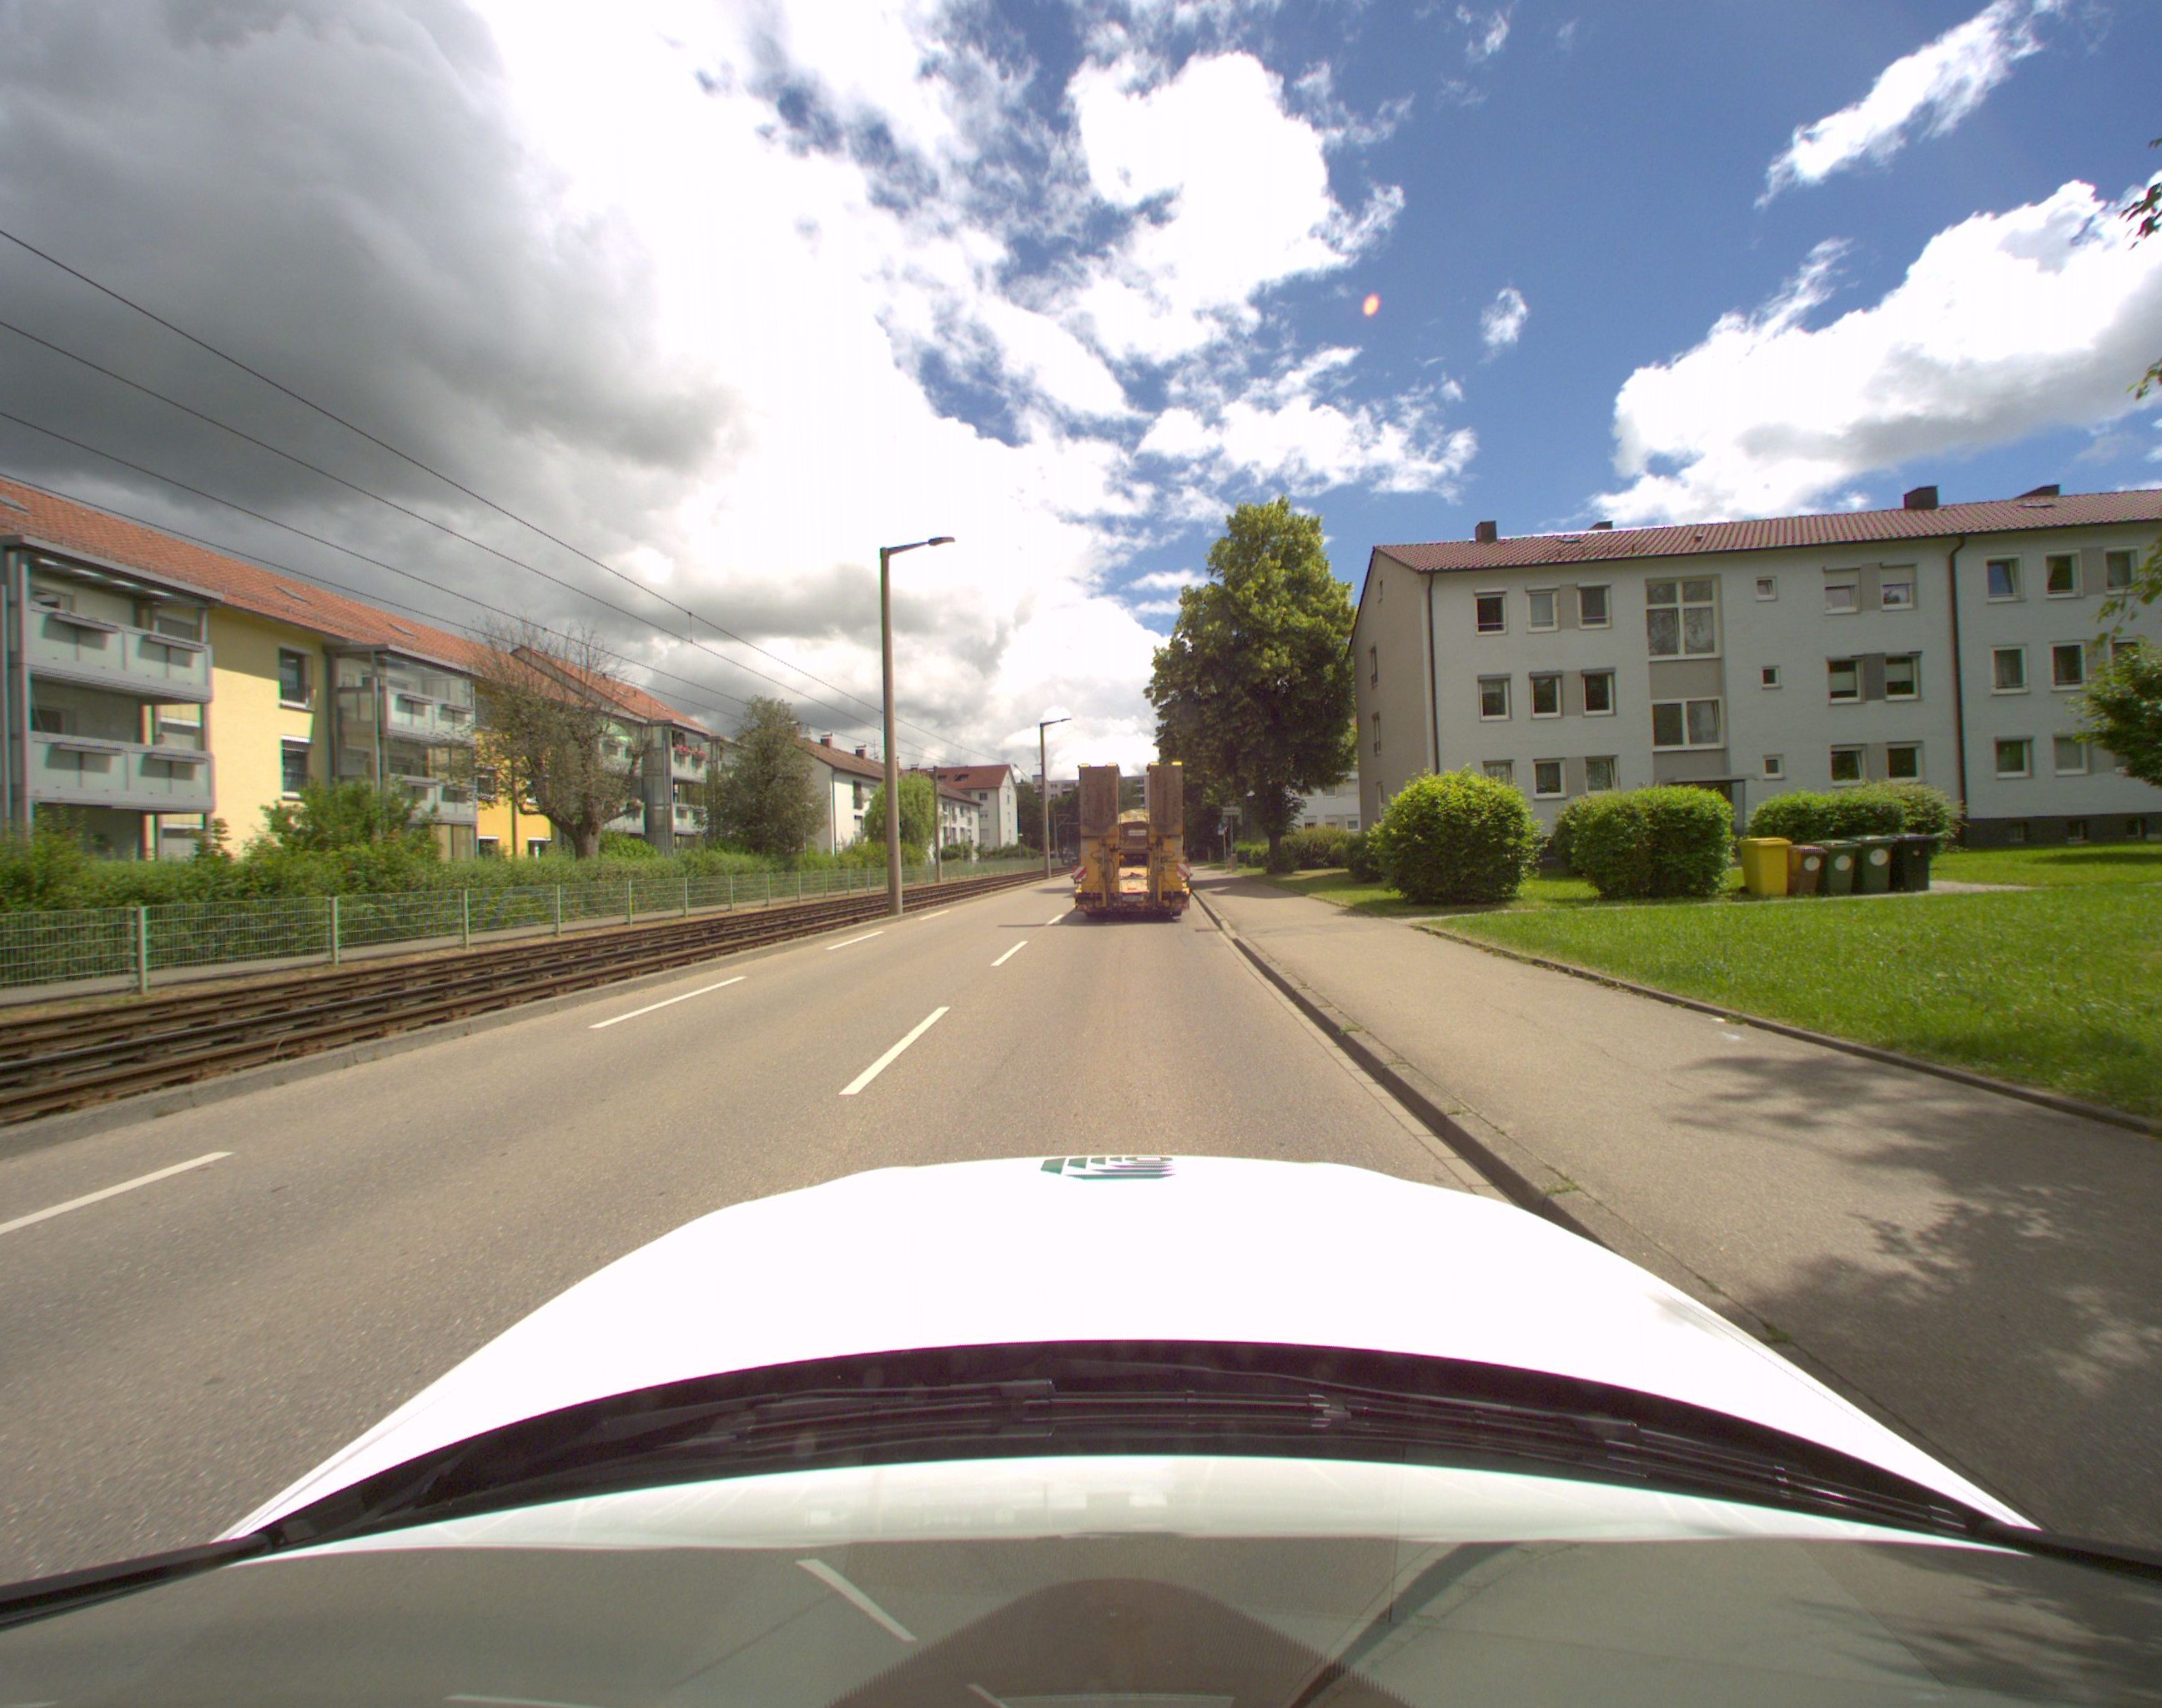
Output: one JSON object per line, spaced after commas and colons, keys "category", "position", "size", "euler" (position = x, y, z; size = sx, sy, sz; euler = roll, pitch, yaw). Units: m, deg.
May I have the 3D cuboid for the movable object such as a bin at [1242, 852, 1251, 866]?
{"category": "movable object such as a bin", "position": [11.709, 0.330, 57.531], "size": [0.493, 0.955, 0.581], "euler": [-3, -1, 5]}

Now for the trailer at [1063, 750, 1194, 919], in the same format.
{"category": "trailer", "position": [1.235, -0.406, 23.827], "size": [2.816, 3.646, 12.359], "euler": [0, 0, 2]}
